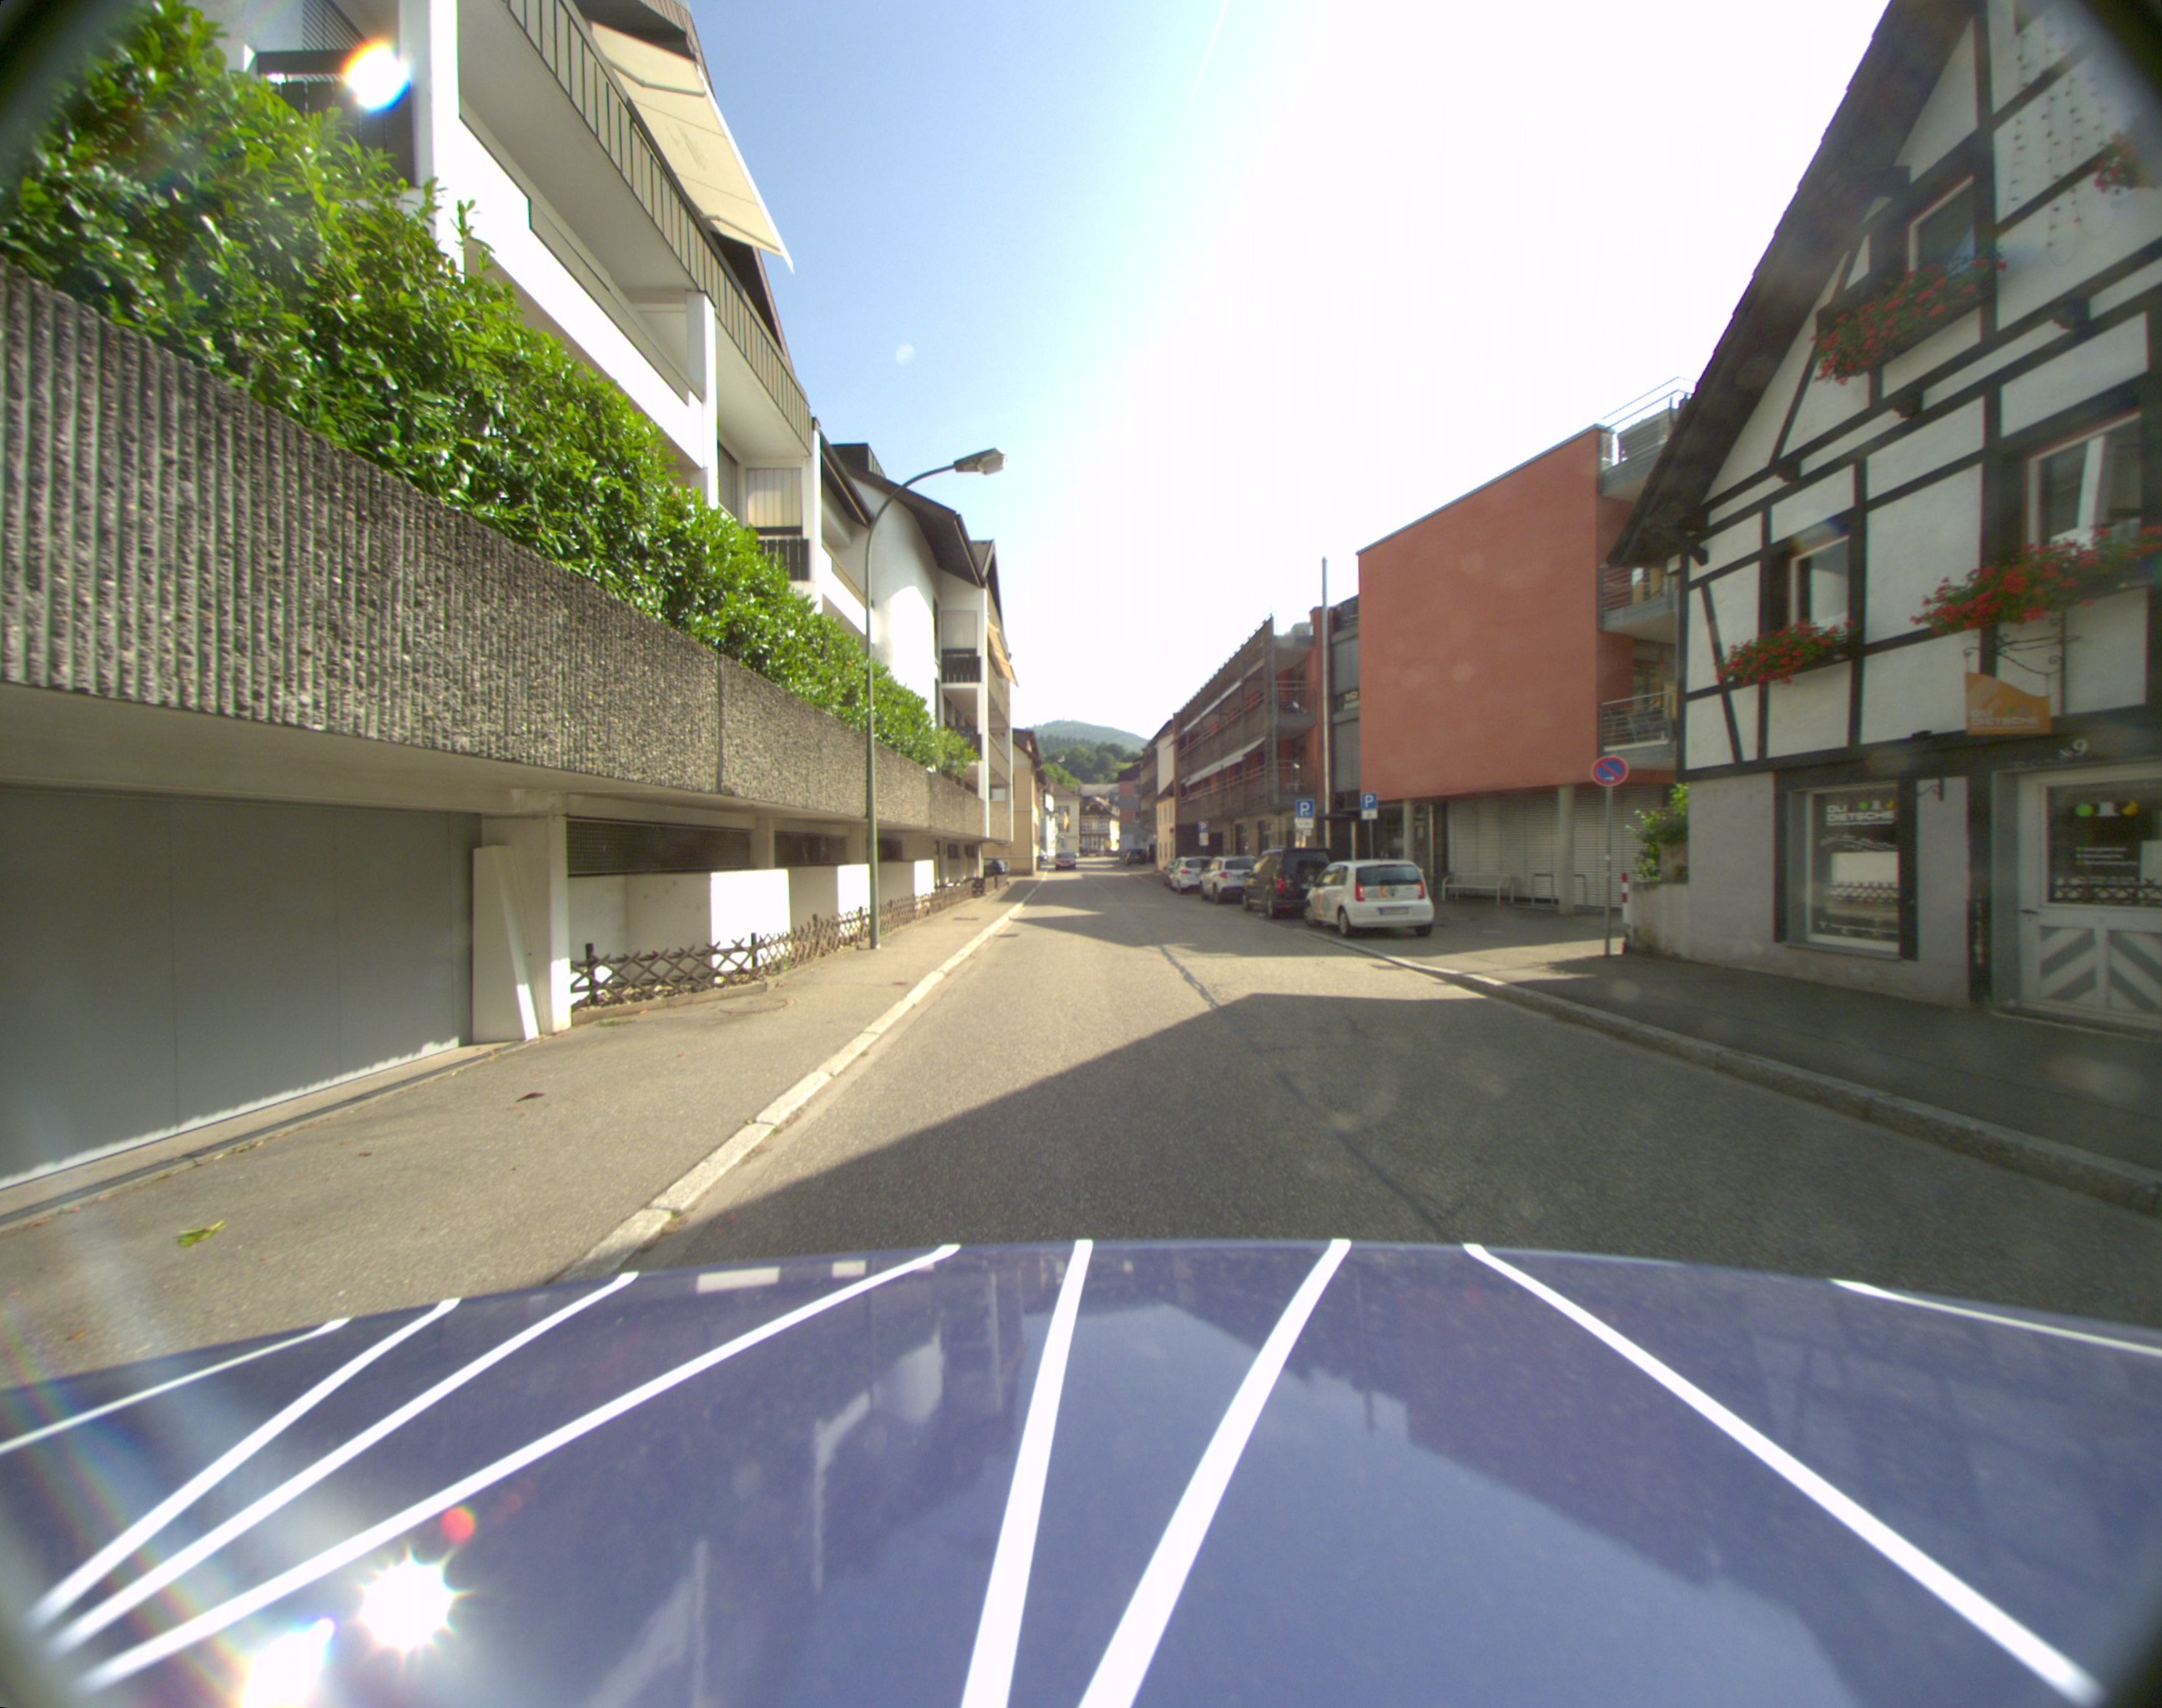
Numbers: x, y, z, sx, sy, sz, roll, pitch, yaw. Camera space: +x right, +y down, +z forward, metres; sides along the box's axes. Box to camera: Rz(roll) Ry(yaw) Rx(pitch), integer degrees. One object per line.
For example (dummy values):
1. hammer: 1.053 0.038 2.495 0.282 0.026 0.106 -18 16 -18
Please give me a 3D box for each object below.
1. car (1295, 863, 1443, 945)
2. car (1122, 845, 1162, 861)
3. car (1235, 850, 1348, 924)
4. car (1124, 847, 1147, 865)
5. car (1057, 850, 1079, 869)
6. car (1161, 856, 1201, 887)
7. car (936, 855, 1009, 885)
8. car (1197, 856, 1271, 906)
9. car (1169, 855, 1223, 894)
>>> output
1. car: 5.707 0.920 15.534 1.670 1.423 3.569 -2 -1 1
2. car: 6.670 -0.105 83.172 4.000 1.673 1.834 0 -1 -9
3. car: 5.594 0.802 20.733 1.725 1.786 4.268 -1 0 -2
4. car: 5.340 0.191 74.650 1.787 1.566 3.888 -3 0 -1
5. car: -1.177 0.470 66.453 1.822 1.652 3.999 0 0 -2
6. car: 5.031 0.863 38.713 1.553 1.408 3.593 -2 1 0
7. car: -6.080 0.888 42.752 3.837 1.470 1.700 -2 0 -2
8. car: 5.239 0.874 26.504 1.679 1.580 3.948 -1 0 -2
9. car: 4.953 0.852 33.175 1.678 1.546 3.764 -1 0 -2
